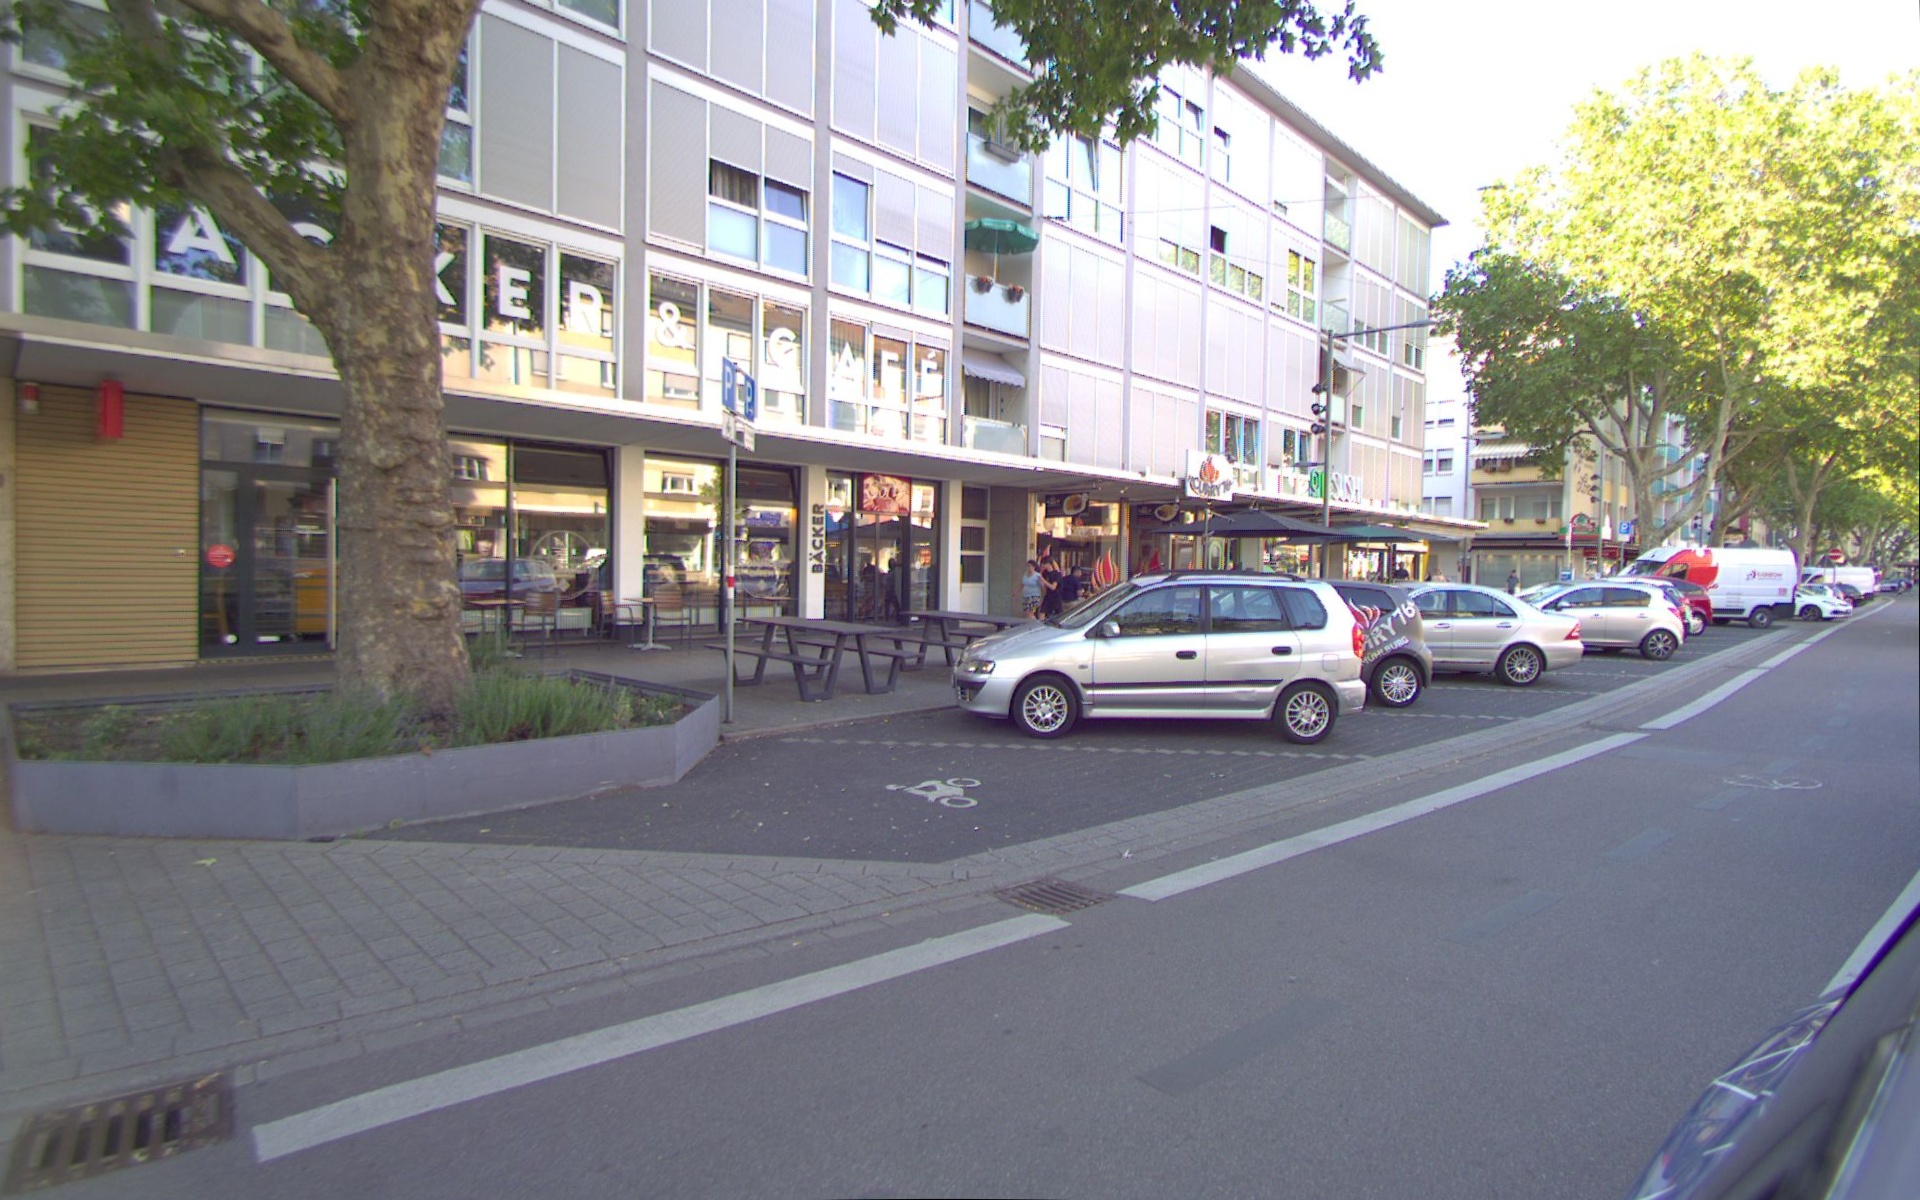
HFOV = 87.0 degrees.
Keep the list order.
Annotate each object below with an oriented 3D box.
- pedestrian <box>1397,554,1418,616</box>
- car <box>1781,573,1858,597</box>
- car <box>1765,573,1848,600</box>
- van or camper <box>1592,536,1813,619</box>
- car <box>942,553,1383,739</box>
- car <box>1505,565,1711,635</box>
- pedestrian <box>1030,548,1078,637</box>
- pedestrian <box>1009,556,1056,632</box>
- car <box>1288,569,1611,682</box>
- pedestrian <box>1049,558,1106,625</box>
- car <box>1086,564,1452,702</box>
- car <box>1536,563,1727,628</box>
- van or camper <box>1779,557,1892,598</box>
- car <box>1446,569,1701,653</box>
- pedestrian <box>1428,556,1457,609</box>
[{"bbox_3d":[14.890,-0.501,33.658,0.547,2.039,0.571,-1,0,31],"label":"pedestrian"},{"bbox_3d":[53.536,-0.926,63.059,3.271,1.363,1.530,1,3,5],"label":"car"},{"bbox_3d":[48.561,-0.790,58.093,3.271,1.363,1.530,1,3,5],"label":"car"},{"bbox_3d":[23.649,-0.744,32.434,5.366,2.499,1.998,1,2,5],"label":"van or camper"},{"bbox_3d":[1.832,0.393,10.074,3.921,1.626,1.811,1,2,-3],"label":"car"},{"bbox_3d":[16.070,-0.034,25.267,3.929,1.541,1.659,1,3,5],"label":"car"},{"bbox_3d":[1.763,-0.151,18.951,0.537,1.610,0.676,5,4,44],"label":"pedestrian"},{"bbox_3d":[1.402,-0.127,19.501,0.537,1.417,0.676,5,4,44],"label":"pedestrian"},{"bbox_3d":[7.136,0.327,15.068,3.926,1.453,1.660,1,3,2],"label":"car"},{"bbox_3d":[2.515,-0.199,21.687,0.945,1.379,0.750,-1,2,-41],"label":"pedestrian"},{"bbox_3d":[3.701,0.355,12.602,3.921,1.525,1.811,1,2,-3],"label":"car"},{"bbox_3d":[18.217,-0.145,27.589,3.929,1.582,1.659,1,3,5],"label":"car"},{"bbox_3d":[56.469,-1.474,65.358,5.363,2.499,1.999,1,2,3],"label":"van or camper"},{"bbox_3d":[12.061,0.173,20.113,3.929,1.453,1.659,1,3,5],"label":"car"},{"bbox_3d":[14.986,-0.548,31.418,0.537,1.610,0.676,5,4,44],"label":"pedestrian"}]
